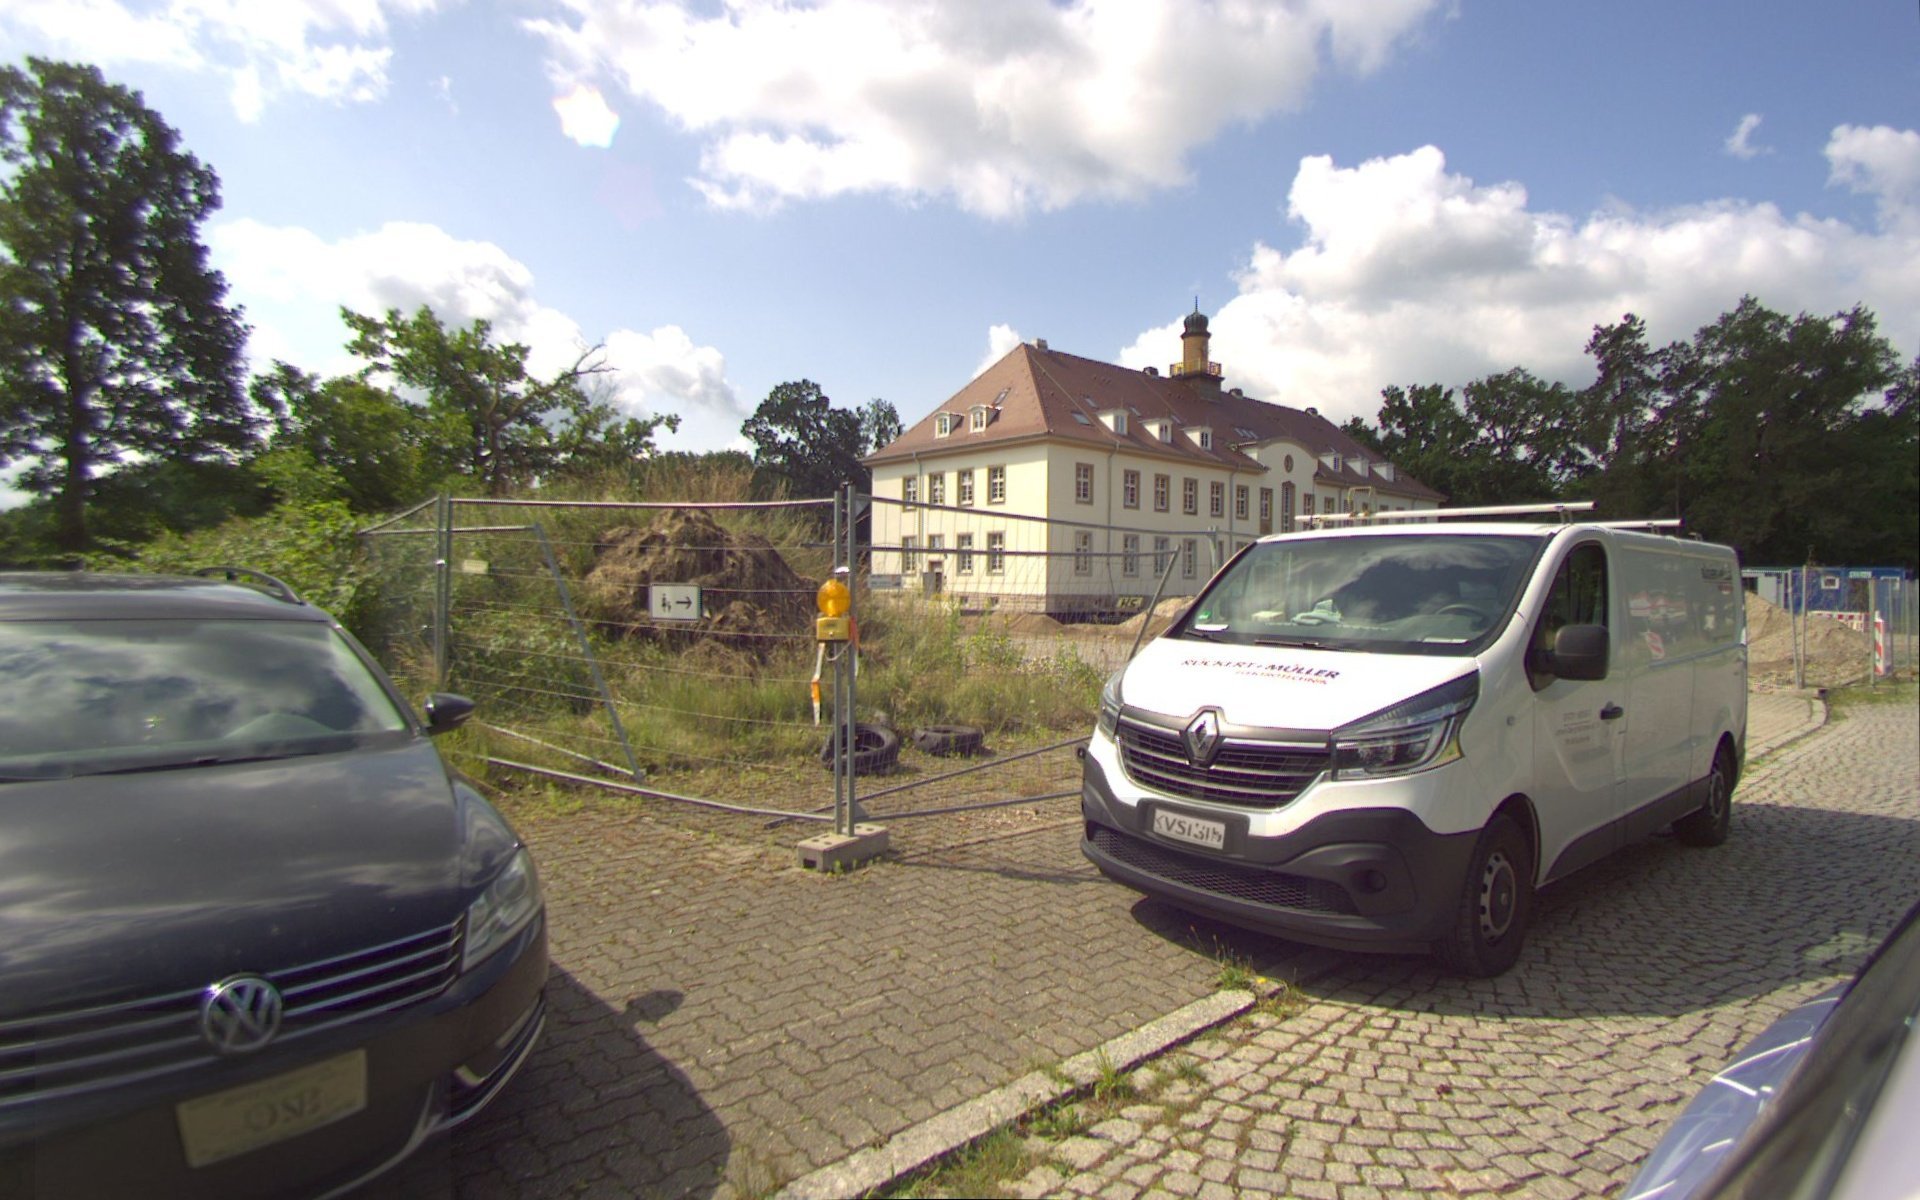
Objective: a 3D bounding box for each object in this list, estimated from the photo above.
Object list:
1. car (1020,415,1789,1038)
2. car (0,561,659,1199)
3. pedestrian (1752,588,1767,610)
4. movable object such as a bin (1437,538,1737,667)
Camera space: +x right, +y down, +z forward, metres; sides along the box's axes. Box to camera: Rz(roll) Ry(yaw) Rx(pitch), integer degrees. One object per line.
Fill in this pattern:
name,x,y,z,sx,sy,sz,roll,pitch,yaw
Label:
car,3.016,0.385,5.935,5.579,2.079,1.917,0,1,-41
car,-2.976,0.644,3.639,4.456,1.493,1.717,3,3,45
pedestrian,46.937,-0.071,59.396,0.671,1.258,0.602,0,0,-43
movable object such as a bin,13.489,0.068,21.872,5.537,2.553,2.154,1,1,-13
